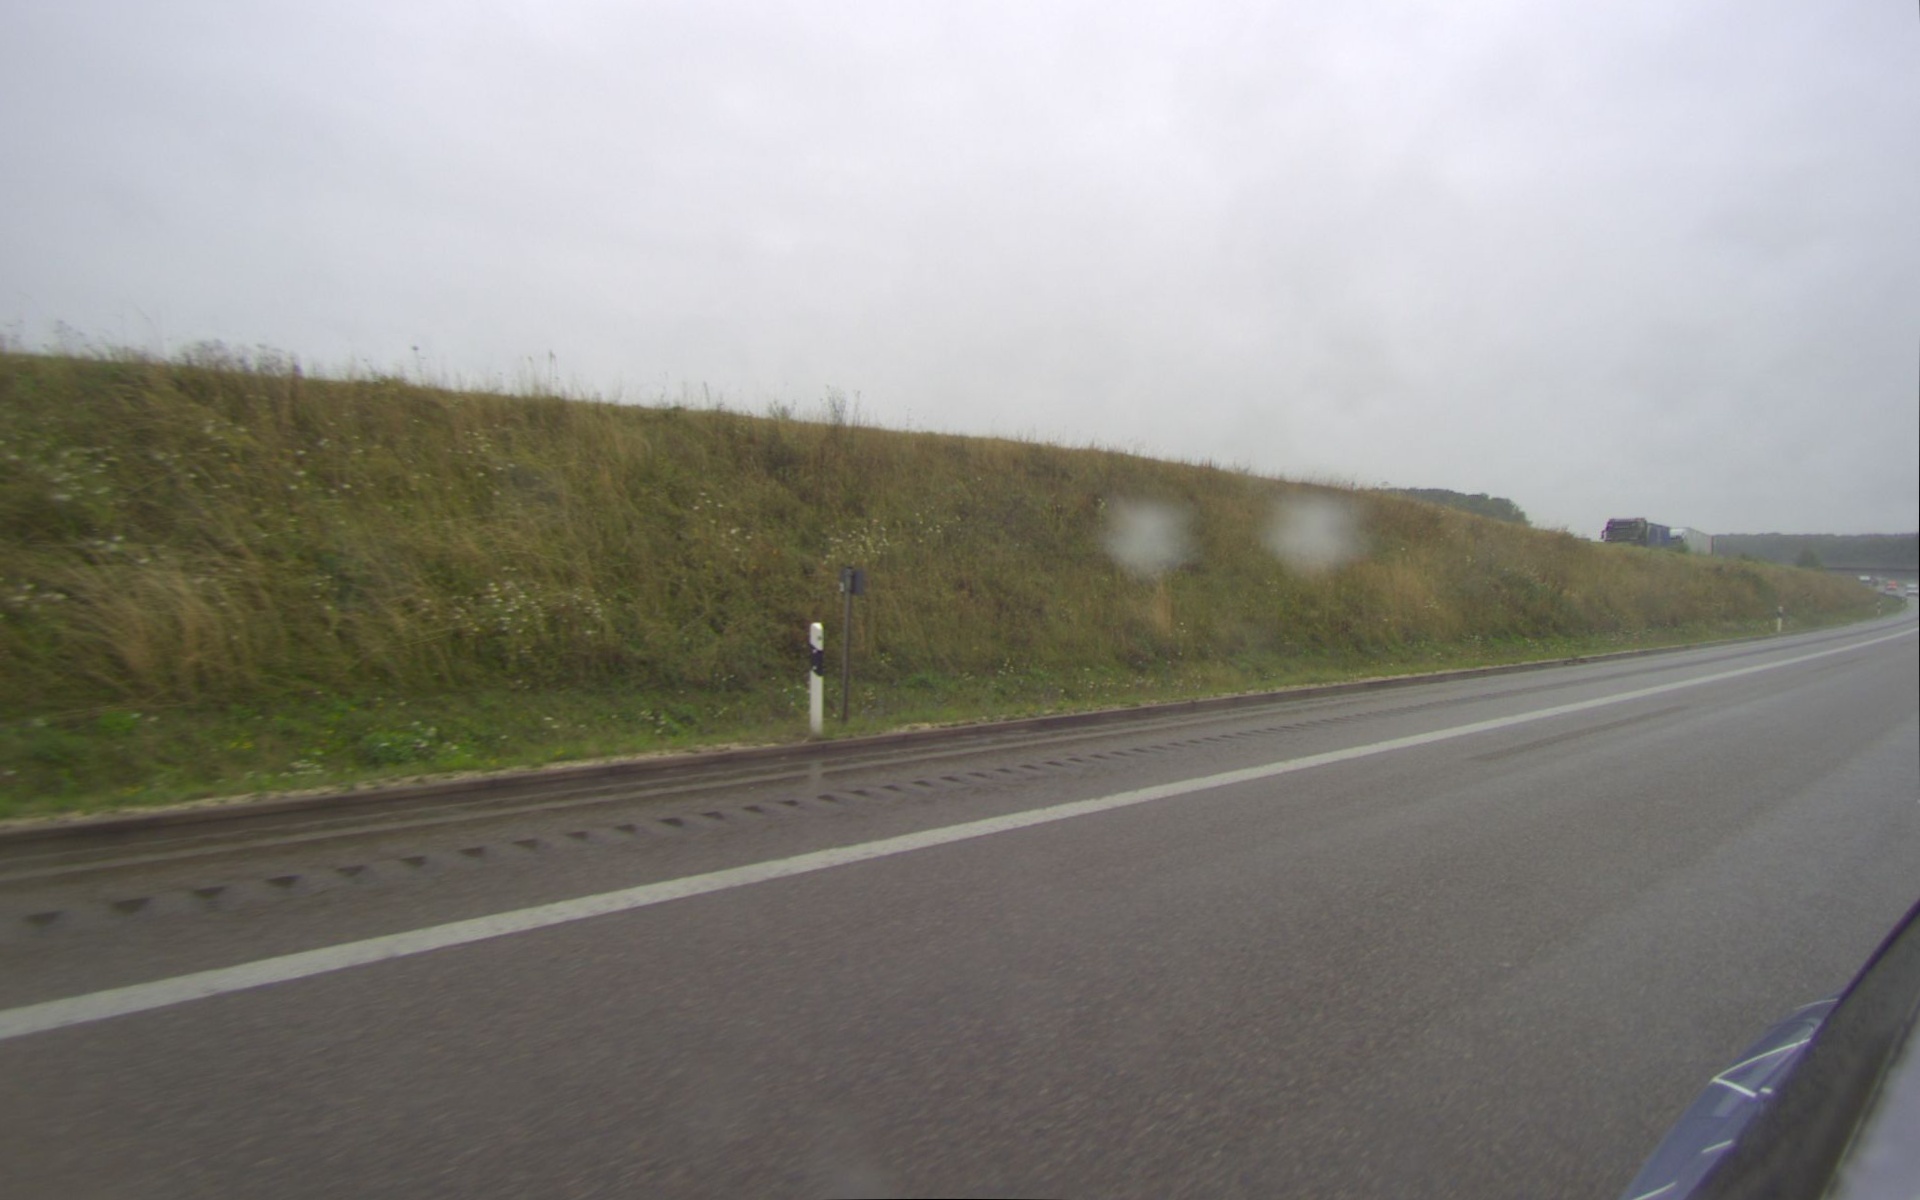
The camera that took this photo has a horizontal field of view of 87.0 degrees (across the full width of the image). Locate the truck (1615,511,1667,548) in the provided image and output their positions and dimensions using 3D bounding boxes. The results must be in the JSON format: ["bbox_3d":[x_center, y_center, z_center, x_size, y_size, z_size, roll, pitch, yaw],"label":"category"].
[{"bbox_3d":[53.850,-5.529,79.995,4.976,2.637,2.369,-1,1,-42],"label":"truck"}]

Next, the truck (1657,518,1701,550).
[{"bbox_3d":[64.208,-5.833,90.365,2.425,2.599,4.999,0,1,45],"label":"truck"}]

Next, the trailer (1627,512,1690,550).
[{"bbox_3d":[57.746,-5.637,83.589,9.246,2.790,2.299,-1,1,-43],"label":"trailer"}]
